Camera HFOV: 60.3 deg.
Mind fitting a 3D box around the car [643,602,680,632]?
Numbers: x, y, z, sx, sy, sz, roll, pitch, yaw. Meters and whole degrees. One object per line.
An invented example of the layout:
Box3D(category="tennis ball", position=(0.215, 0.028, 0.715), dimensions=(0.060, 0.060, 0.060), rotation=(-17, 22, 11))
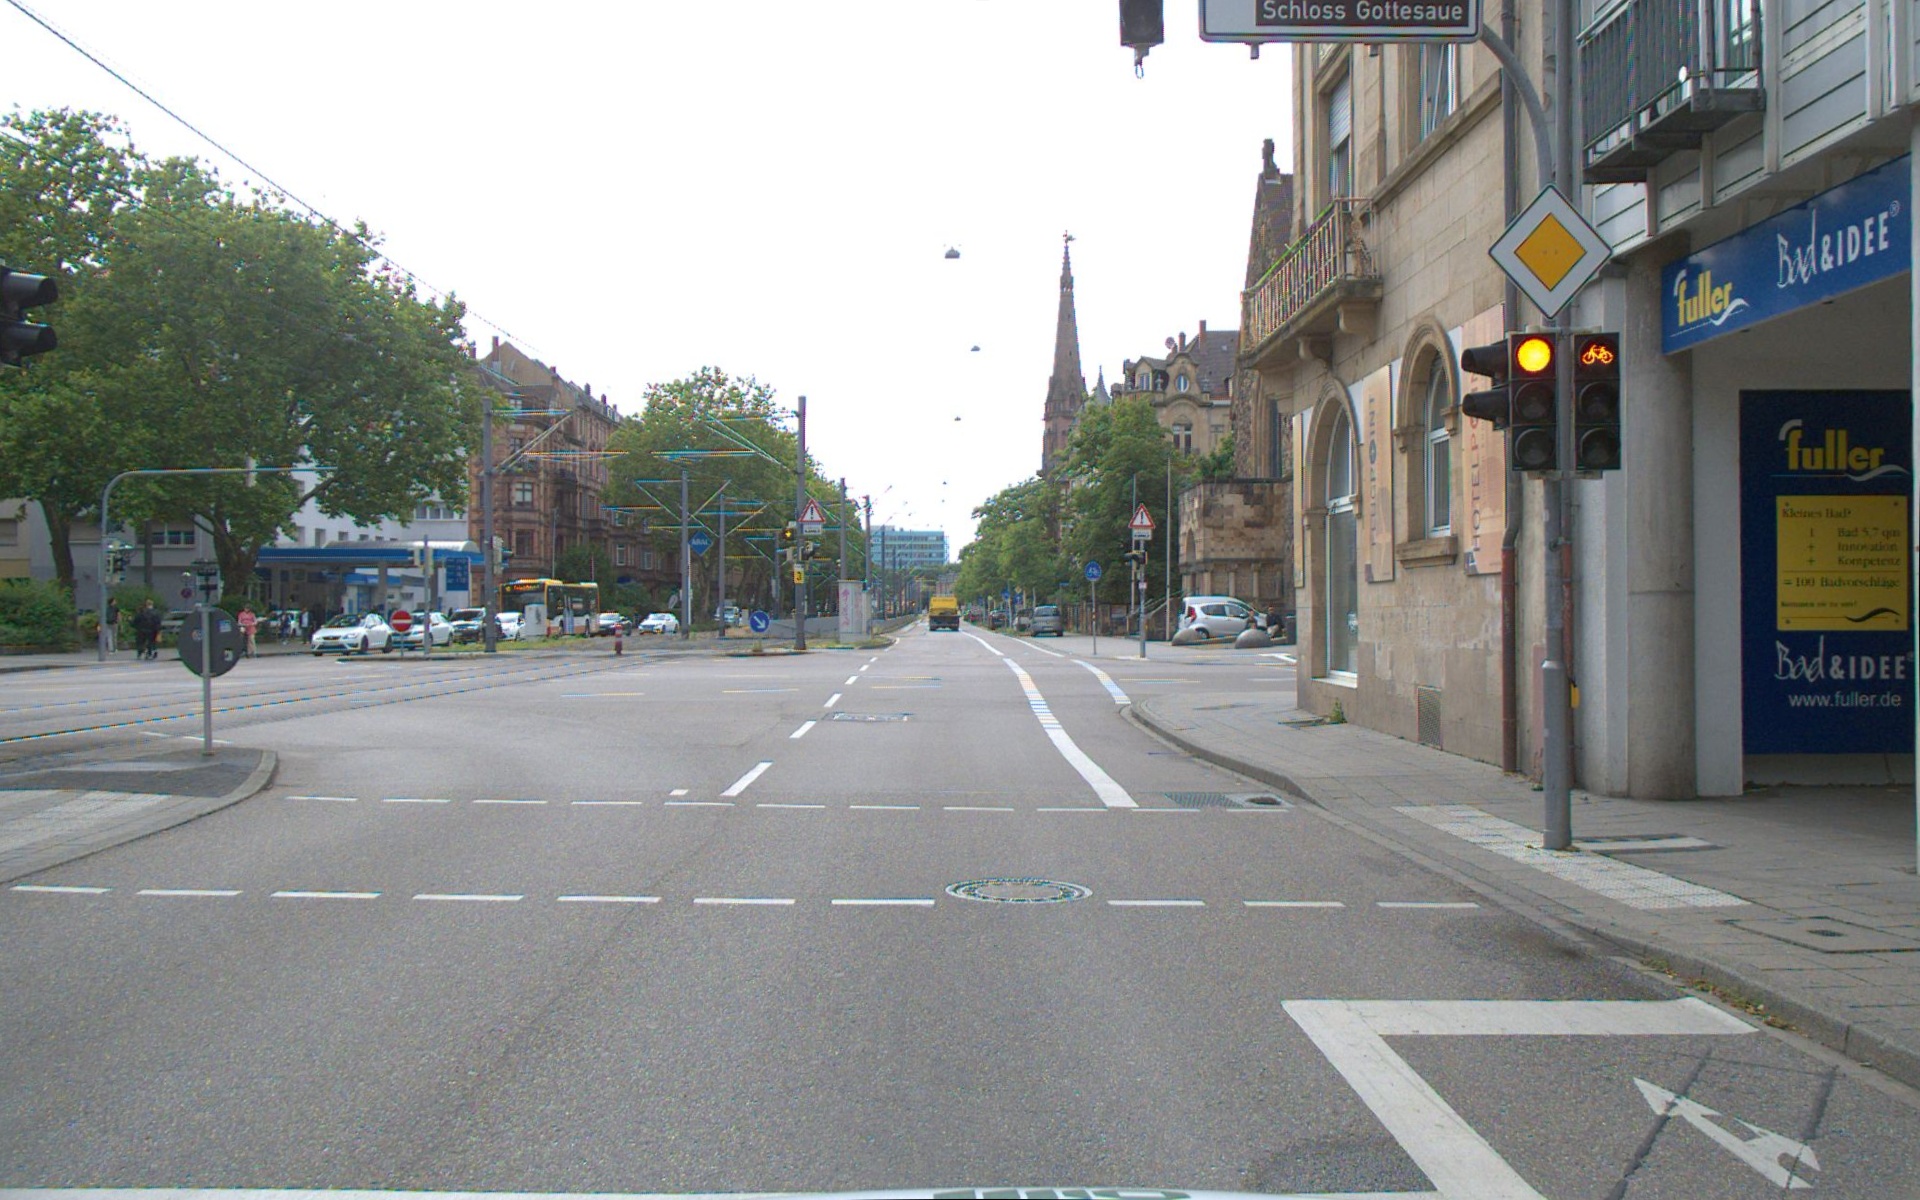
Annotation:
Box3D(category="car", position=(-21.143, 1.175, 117.195), dimensions=(1.953, 2.049, 3.999), rotation=(1, 0, -1))

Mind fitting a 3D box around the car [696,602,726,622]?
Box3D(category="car", position=(-21.224, 1.026, 141.184), dimensions=(1.953, 1.639, 3.999), rotation=(1, 0, -1))

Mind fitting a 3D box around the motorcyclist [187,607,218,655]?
Box3D(category="motorcyclist", position=(-24.675, 0.999, 53.910), dimensions=(0.607, 1.546, 0.873), rotation=(0, 0, -1))

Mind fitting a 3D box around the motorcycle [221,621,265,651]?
Box3D(category="motorcycle", position=(-23.688, 1.173, 54.675), dimensions=(0.594, 0.945, 1.951), rotation=(0, 0, 0))

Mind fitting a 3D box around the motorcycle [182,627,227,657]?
Box3D(category="motorcycle", position=(-24.677, 1.375, 54.080), dimensions=(0.594, 0.945, 1.951), rotation=(0, 0, 0))

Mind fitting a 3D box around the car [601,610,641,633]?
Box3D(category="car", position=(-20.913, 1.309, 102.095), dimensions=(1.622, 1.344, 3.638), rotation=(1, 0, 1))

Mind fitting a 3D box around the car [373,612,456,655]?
Box3D(category="car", position=(-21.421, 1.292, 65.131), dimensions=(1.953, 1.622, 3.999), rotation=(1, 0, -1))

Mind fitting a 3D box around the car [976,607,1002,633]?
Box3D(category="car", position=(2.376, 1.623, 136.005), dimensions=(1.953, 2.049, 3.999), rotation=(1, 0, -1))

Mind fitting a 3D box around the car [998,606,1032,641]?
Box3D(category="car", position=(3.288, 1.417, 99.612), dimensions=(1.952, 2.049, 4.000), rotation=(1, 0, 1))

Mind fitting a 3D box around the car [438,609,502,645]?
Box3D(category="car", position=(-21.221, 1.143, 71.784), dimensions=(1.622, 1.504, 3.638), rotation=(1, 0, 1))

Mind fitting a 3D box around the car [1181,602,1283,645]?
Box3D(category="car", position=(10.676, 0.922, 65.081), dimensions=(3.638, 1.591, 2.000), rotation=(1, 0, -1))

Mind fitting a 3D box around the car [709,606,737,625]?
Box3D(category="car", position=(-21.340, 1.383, 148.994), dimensions=(1.953, 1.639, 3.999), rotation=(1, 0, -1))

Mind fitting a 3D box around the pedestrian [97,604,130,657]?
Box3D(category="pedestrian", position=(-27.822, 0.992, 54.363), dimensions=(0.669, 1.720, 0.742), rotation=(1, -1, 4))

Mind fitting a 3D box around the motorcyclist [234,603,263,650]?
Box3D(category="motorcyclist", position=(-23.657, 0.863, 55.010), dimensions=(0.607, 1.546, 0.873), rotation=(0, 0, -1))

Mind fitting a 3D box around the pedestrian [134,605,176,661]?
Box3D(category="pedestrian", position=(-25.360, 1.023, 52.120), dimensions=(0.854, 1.743, 0.874), rotation=(0, 0, 29))

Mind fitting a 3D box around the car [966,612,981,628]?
Box3D(category="car", position=(1.763, 2.655, 216.827), dimensions=(1.953, 2.049, 3.999), rotation=(1, 0, -1))

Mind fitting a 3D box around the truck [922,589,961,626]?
Box3D(category="truck", position=(-1.398, 0.606, 130.967), dimensions=(2.993, 2.817, 9.814), rotation=(0, 0, 0))

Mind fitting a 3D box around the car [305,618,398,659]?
Box3D(category="car", position=(-21.498, 1.335, 58.604), dimensions=(1.711, 1.344, 4.075), rotation=(1, 0, 1))

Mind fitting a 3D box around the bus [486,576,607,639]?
Box3D(category="bus", position=(-21.965, 0.422, 88.757), dimensions=(3.164, 3.088, 12.312), rotation=(1, 0, 1))

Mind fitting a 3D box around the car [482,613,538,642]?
Box3D(category="car", position=(-21.378, 1.288, 78.703), dimensions=(1.622, 1.344, 3.638), rotation=(1, 0, 1))

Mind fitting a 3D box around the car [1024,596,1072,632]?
Box3D(category="car", position=(4.816, 0.767, 90.051), dimensions=(1.951, 1.888, 4.030), rotation=(1, 0, 12))

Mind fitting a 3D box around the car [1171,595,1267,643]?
Box3D(category="car", position=(10.693, 0.790, 68.561), dimensions=(3.638, 1.888, 2.000), rotation=(1, 0, -1))

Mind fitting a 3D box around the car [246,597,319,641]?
Box3D(category="car", position=(-32.880, 0.907, 80.363), dimensions=(1.953, 2.049, 3.999), rotation=(0, 0, -1))

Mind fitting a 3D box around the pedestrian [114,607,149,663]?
Box3D(category="pedestrian", position=(-25.752, 1.081, 51.392), dimensions=(0.853, 1.743, 0.688), rotation=(-1, -1, 37))
